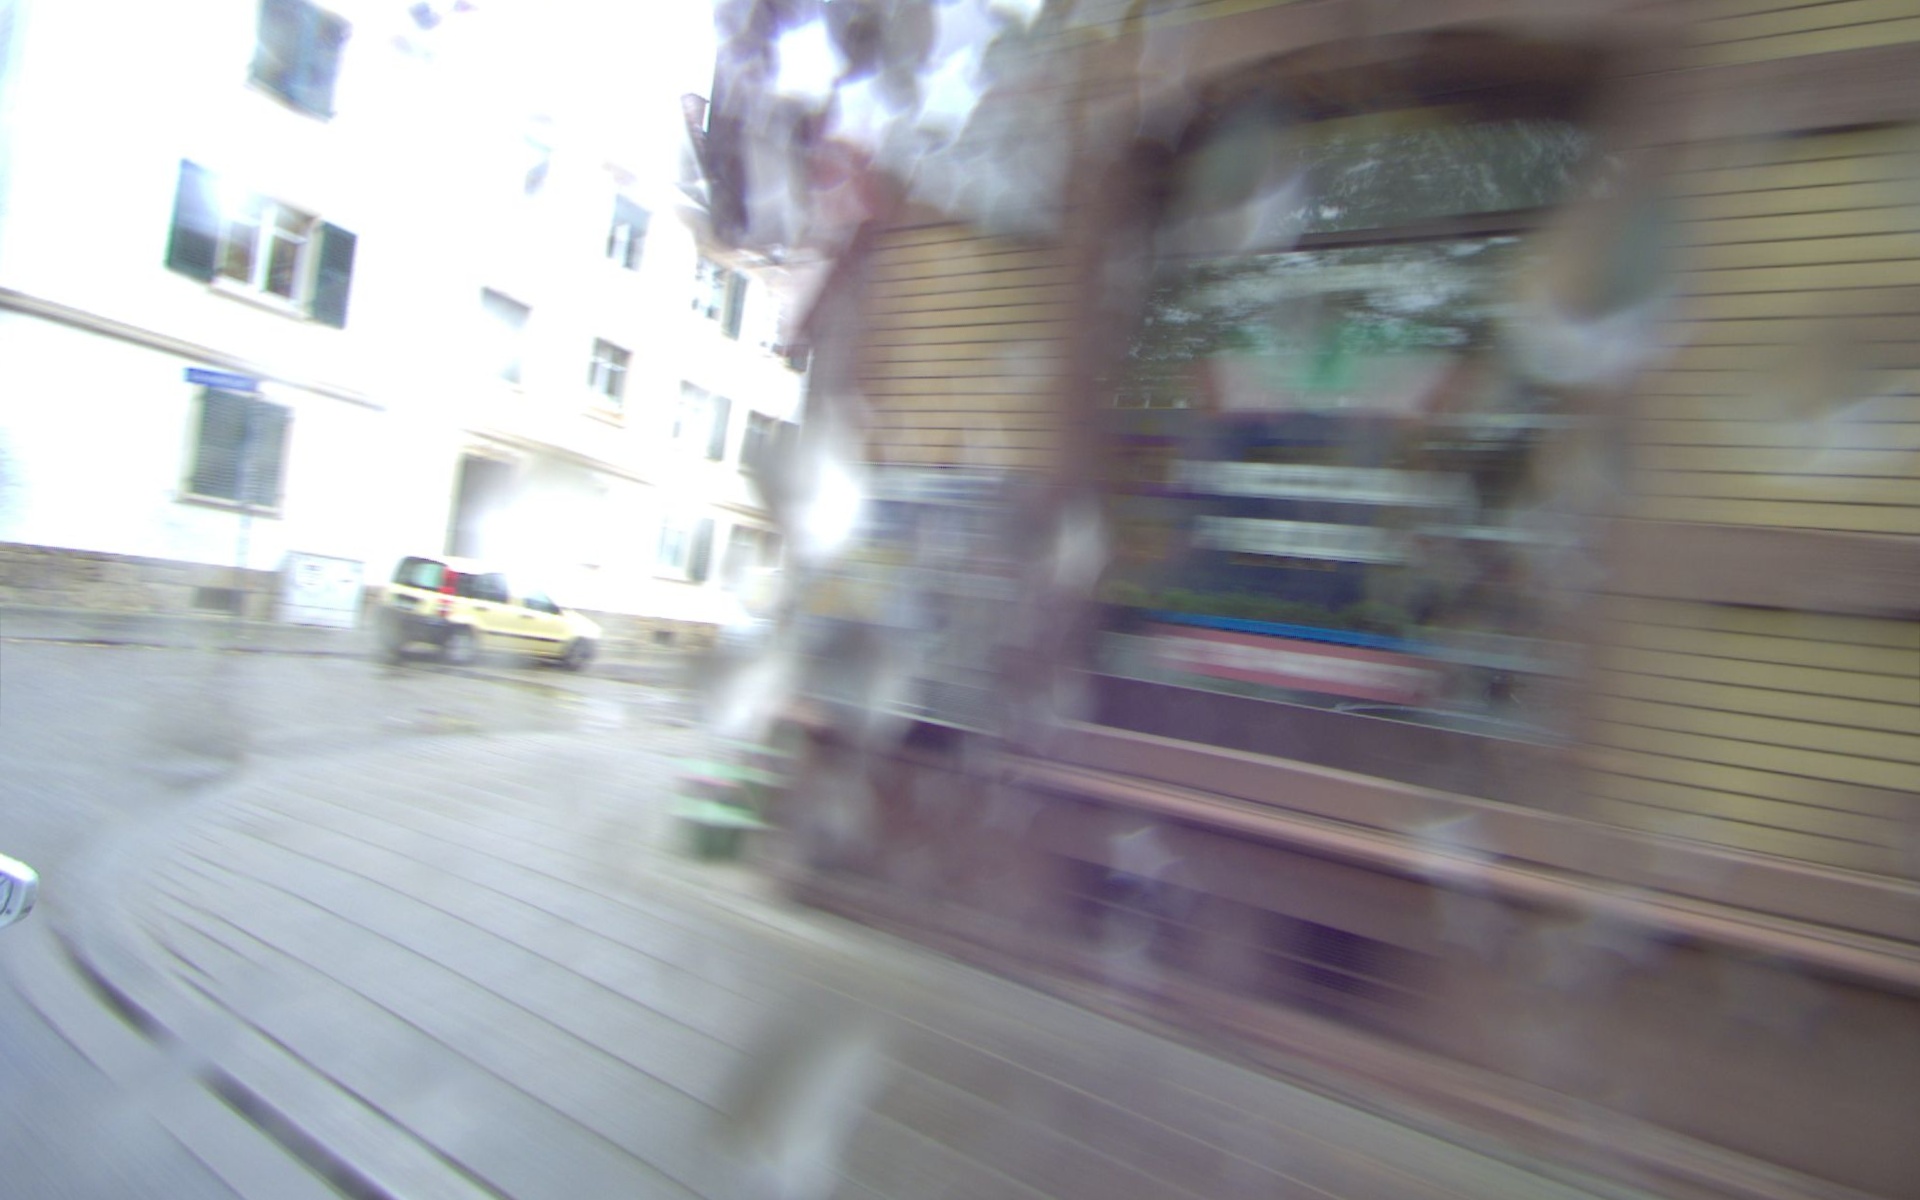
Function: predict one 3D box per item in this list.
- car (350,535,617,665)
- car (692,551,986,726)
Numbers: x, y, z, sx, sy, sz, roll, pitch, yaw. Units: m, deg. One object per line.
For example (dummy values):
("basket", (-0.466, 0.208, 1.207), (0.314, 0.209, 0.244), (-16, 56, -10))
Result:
("car", (-7.343, 0.072, 15.835), (1.686, 1.503, 3.368), (9, -2, 24))
("car", (-1.469, 0.633, 14.018), (1.901, 1.965, 4.242), (4, -3, 27))
